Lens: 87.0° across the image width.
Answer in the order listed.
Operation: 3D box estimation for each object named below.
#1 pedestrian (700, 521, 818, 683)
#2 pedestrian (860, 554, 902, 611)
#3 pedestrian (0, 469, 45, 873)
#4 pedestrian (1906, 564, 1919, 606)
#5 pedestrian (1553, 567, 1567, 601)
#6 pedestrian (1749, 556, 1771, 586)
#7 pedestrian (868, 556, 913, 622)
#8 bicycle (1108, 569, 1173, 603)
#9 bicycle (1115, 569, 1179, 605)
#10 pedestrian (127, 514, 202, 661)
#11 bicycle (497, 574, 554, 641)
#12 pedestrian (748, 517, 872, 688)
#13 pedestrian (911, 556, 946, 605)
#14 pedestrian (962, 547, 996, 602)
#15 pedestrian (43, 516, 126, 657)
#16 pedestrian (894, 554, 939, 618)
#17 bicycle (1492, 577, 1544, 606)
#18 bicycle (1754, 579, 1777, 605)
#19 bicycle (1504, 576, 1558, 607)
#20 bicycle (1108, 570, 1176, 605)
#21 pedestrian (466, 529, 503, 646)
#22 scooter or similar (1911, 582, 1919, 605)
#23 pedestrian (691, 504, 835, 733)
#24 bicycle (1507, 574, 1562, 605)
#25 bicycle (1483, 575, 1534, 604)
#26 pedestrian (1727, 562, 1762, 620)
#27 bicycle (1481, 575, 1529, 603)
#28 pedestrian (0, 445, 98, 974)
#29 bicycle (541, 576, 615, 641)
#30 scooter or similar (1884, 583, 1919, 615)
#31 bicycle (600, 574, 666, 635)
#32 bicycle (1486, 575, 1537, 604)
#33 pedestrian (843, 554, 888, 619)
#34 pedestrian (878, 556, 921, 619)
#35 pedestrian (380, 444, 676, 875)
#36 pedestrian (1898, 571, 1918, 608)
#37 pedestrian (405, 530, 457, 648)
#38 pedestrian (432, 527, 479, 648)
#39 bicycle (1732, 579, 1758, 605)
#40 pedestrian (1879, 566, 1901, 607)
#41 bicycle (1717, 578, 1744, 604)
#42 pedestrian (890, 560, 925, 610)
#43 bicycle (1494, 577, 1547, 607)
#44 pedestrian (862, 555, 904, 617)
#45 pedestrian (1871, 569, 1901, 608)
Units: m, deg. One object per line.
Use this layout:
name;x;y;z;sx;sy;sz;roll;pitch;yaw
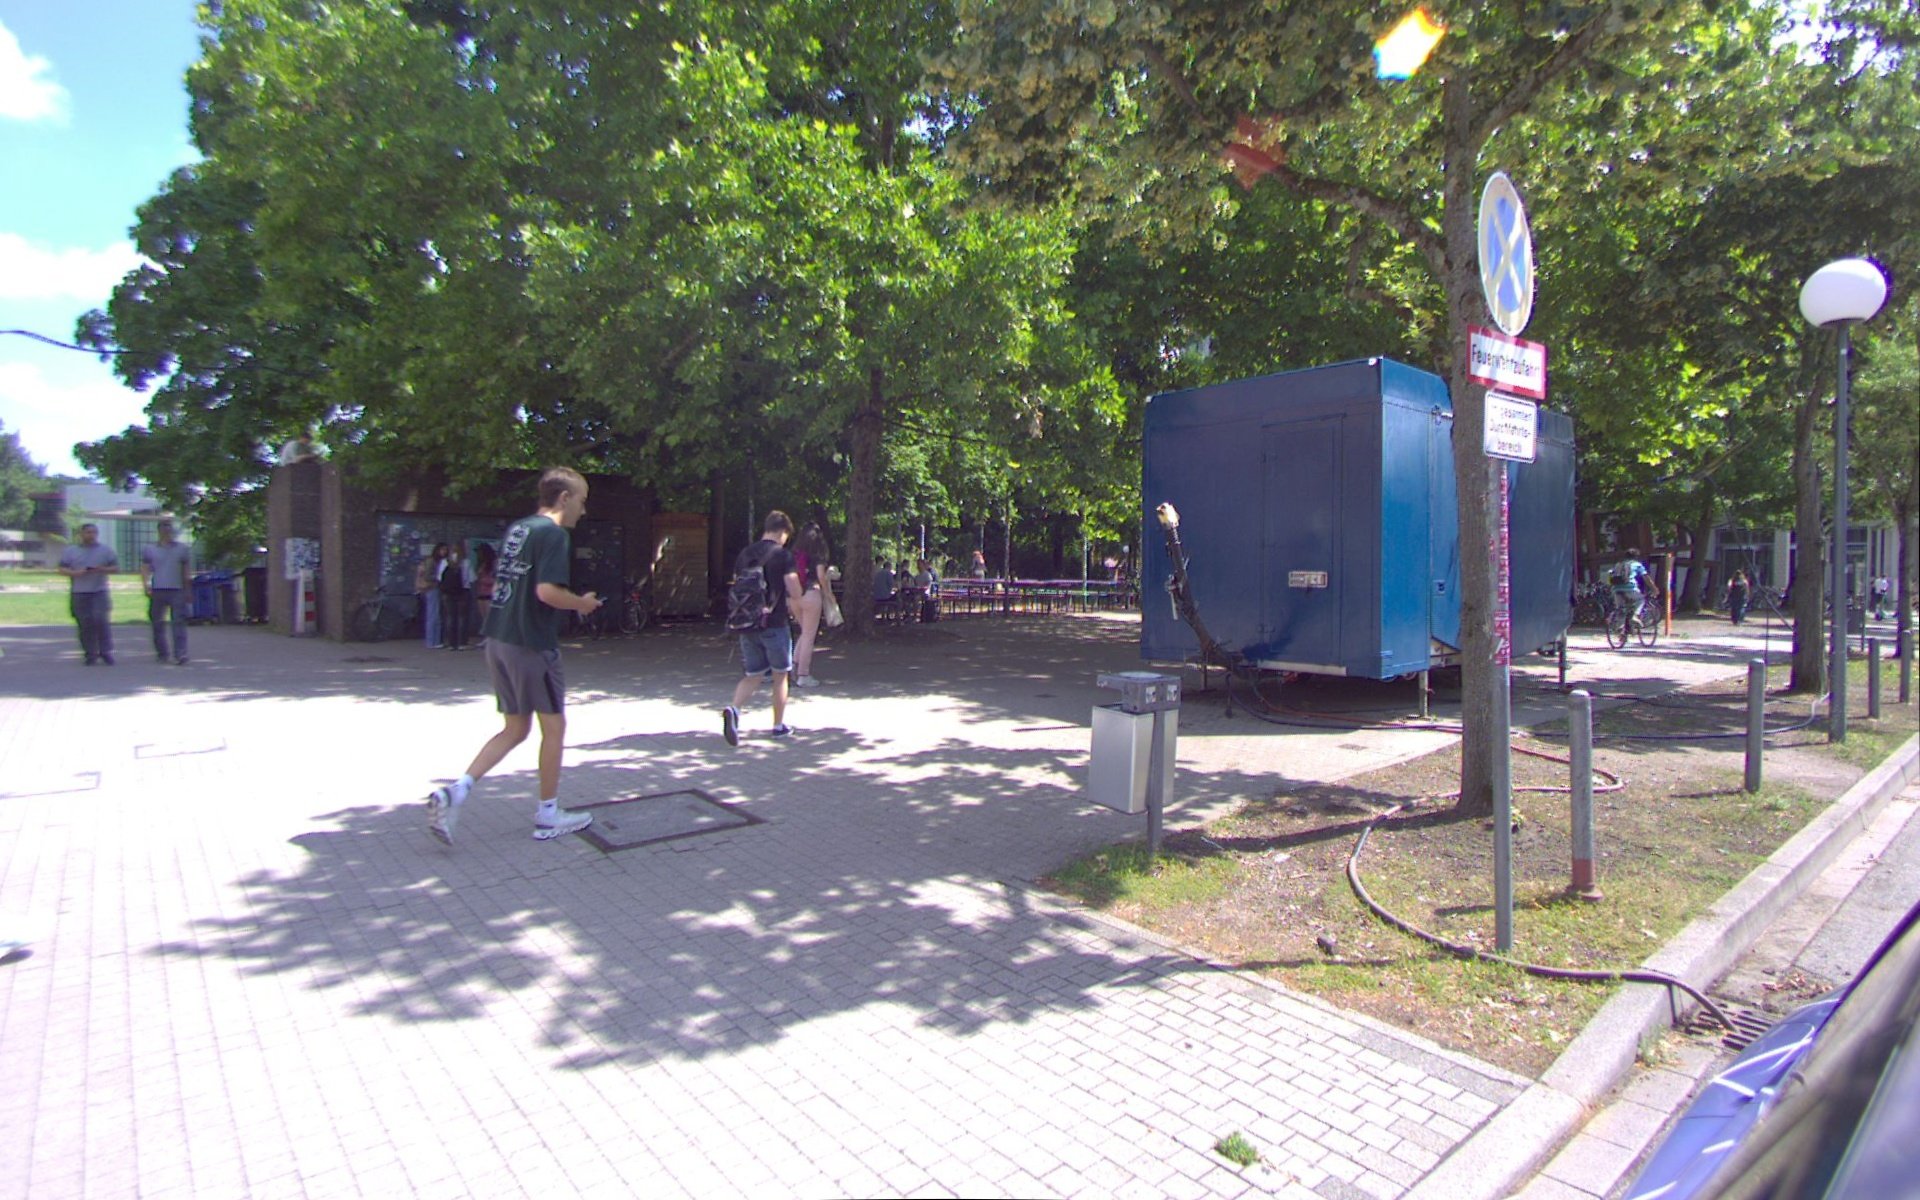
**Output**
pedestrian;-2.185;-0.001;10.980;0.932;1.658;0.877;0;2;-40
pedestrian;-1.965;-0.436;25.174;0.707;1.363;0.667;0;4;-45
pedestrian;-4.678;0.288;4.511;1.104;1.736;0.700;4;5;40
pedestrian;40.216;-0.632;42.232;0.735;1.762;0.938;-1;1;-34
pedestrian;30.593;-0.822;51.594;0.427;1.725;0.929;-1;-1;45
pedestrian;47.908;-1.728;60.600;0.793;1.819;0.621;0;1;-8
pedestrian;-1.485;-0.234;21.632;0.717;1.363;0.570;0;3;-45
bicycle;5.601;-0.433;31.454;1.944;0.991;0.434;2;2;31
bicycle;5.874;-0.424;31.795;1.944;1.052;0.430;2;2;31
pedestrian;-10.706;-0.167;13.636;0.718;1.906;0.835;2;0;-38
bicycle;-7.681;0.097;17.831;0.767;1.085;2.408;-1;2;-27
pedestrian;-1.546;0.001;10.422;0.932;1.658;0.877;0;2;-41
pedestrian;-0.873;-0.540;27.695;0.612;1.286;0.667;0;4;-45
pedestrian;0.566;-0.780;30.369;0.715;1.601;0.660;5;3;36
pedestrian;-11.353;-0.168;13.152;0.718;1.760;0.835;2;0;-37
pedestrian;-0.953;-0.304;22.201;0.717;1.363;0.570;0;3;-45
bicycle;22.996;-0.354;41.688;1.817;1.185;0.352;1;1;14
bicycle;35.826;-0.336;44.984;1.447;1.099;0.460;2;2;-40
bicycle;22.732;-0.331;40.277;1.817;1.185;0.344;1;1;14
bicycle;5.480;-0.389;30.510;1.944;0.991;0.606;2;2;31
pedestrian;-7.942;-0.206;16.889;0.519;1.906;0.449;0;0;-30
scooter or similar;51.326;-0.315;53.644;0.555;1.226;1.507;0;3;9
pedestrian;-1.466;0.115;7.653;0.835;1.615;0.829;2;1;7
bicycle;22.658;-0.413;39.939;1.817;1.185;0.344;1;1;13
bicycle;23.197;-0.459;42.818;1.817;1.185;0.352;1;1;14
pedestrian;22.320;-0.271;28.789;0.911;1.590;0.570;-5;5;-40
bicycle;23.905;-0.488;44.412;1.816;1.185;0.387;1;1;11
pedestrian;-3.546;0.356;3.240;0.695;1.741;0.987;3;2;22
bicycle;-6.957;0.107;18.360;0.768;1.085;2.406;-1;2;-33
scooter or similar;34.726;-0.044;37.164;1.333;1.128;0.498;2;1;-16
bicycle;-6.267;0.073;19.308;0.767;1.085;2.407;-1;1;-28
bicycle;23.123;-0.444;42.469;1.817;1.185;0.352;1;1;14
pedestrian;-2.074;-0.295;22.190;0.717;1.363;0.570;0;3;-45
pedestrian;-1.354;-0.281;22.625;0.717;1.363;0.570;0;3;-45
pedestrian;-2.152;0.244;5.122;0.848;1.883;1.103;1;1;32
pedestrian;44.354;-0.496;47.341;0.533;1.750;0.613;-1;1;-39
pedestrian;-8.694;-0.195;16.642;0.523;1.905;0.555;2;3;22
pedestrian;-8.072;-0.194;16.218;0.547;1.906;0.530;0;0;-10
bicycle;35.421;-0.366;45.663;1.486;1.099;0.482;2;1;-35
pedestrian;43.100;-0.631;46.896;0.675;1.914;0.686;-2;1;-43
bicycle;34.904;-0.402;45.842;1.664;1.099;0.482;2;1;-36
pedestrian;-1.399;-0.403;27.014;0.612;1.286;0.667;0;4;-45
bicycle;22.878;-0.341;41.333;1.817;1.185;0.352;1;1;14
pedestrian;-1.755;-0.324;23.043;0.717;1.363;0.570;0;3;-45
pedestrian;43.704;-0.561;47.781;0.796;1.819;0.619;0;1;6
